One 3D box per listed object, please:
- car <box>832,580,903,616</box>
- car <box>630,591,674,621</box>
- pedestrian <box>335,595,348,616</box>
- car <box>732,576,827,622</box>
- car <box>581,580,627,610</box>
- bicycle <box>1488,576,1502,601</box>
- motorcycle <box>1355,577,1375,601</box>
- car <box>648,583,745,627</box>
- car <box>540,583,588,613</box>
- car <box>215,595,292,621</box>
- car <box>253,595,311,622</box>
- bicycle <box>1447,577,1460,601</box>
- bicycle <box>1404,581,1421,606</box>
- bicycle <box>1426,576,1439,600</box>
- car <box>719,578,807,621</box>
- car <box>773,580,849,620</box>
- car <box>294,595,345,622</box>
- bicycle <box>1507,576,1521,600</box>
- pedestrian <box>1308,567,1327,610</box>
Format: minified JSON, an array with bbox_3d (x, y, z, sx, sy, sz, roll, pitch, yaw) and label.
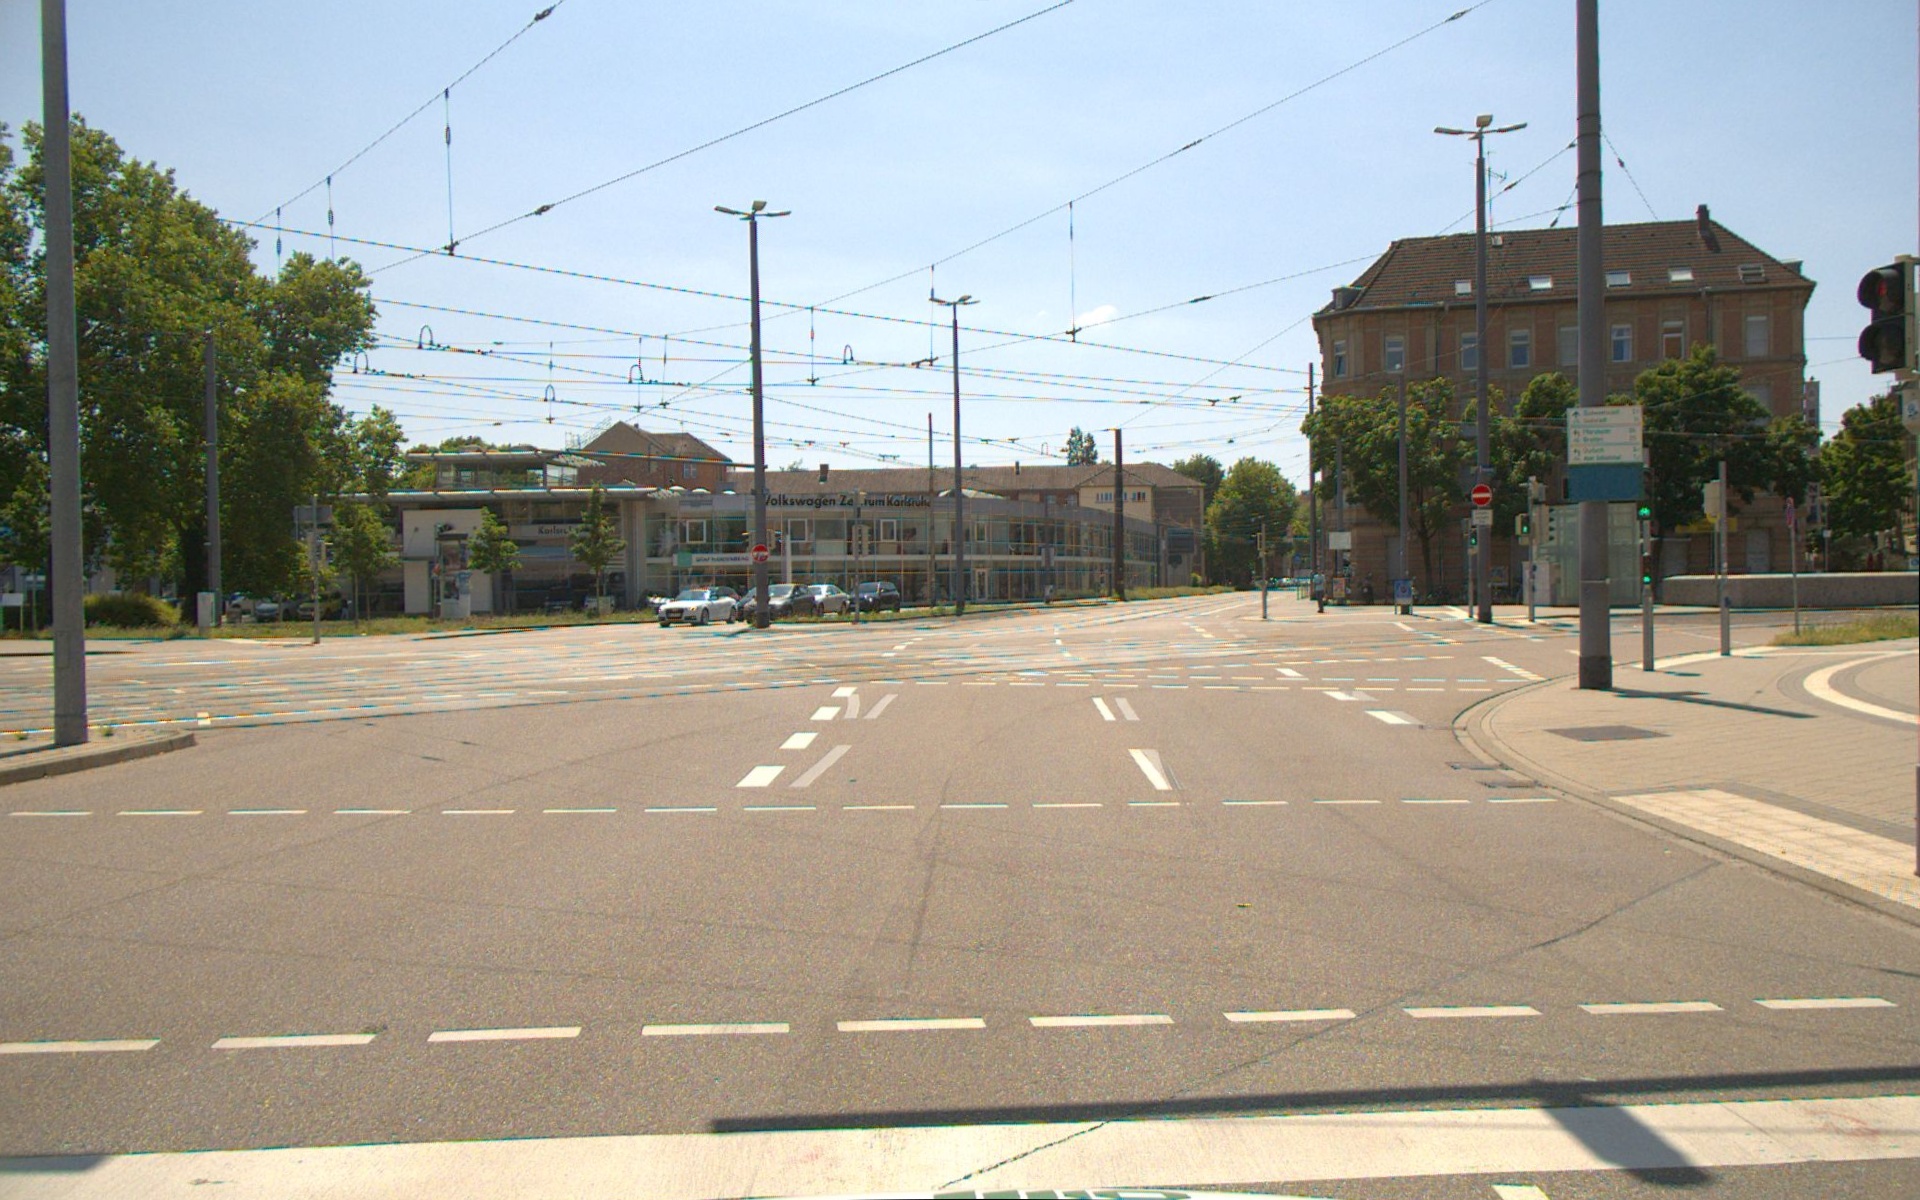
[{"bbox_3d":[-4.600,-0.123,83.057,2.034,1.712,4.850,-1,1,16],"label":"car"},{"bbox_3d":[-18.569,0.367,99.890,1.881,1.737,4.000,1,0,0],"label":"car"},{"bbox_3d":[-36.215,0.320,96.838,0.502,1.225,0.446,-1,0,5],"label":"pedestrian"},{"bbox_3d":[-6.970,-0.061,64.392,1.951,1.666,4.850,-1,1,16],"label":"car"},{"bbox_3d":[-21.428,-0.285,99.721,1.881,1.737,4.000,1,0,0],"label":"car"},{"bbox_3d":[25.532,-0.561,78.980,0.539,1.139,1.872,-1,0,15],"label":"bicycle"},{"bbox_3d":[19.457,-0.534,79.418,0.568,1.093,1.947,-1,0,3],"label":"motorcycle"},{"bbox_3d":[-10.149,0.159,64.033,2.032,1.607,4.850,-1,1,13],"label":"car"},{"bbox_3d":[-23.834,-0.126,99.689,1.881,1.737,4.000,1,0,0],"label":"car"},{"bbox_3d":[-45.409,0.500,106.390,4.279,1.536,1.750,-1,1,-36],"label":"car"},{"bbox_3d":[-41.406,0.493,101.034,1.731,1.536,4.327,-1,1,0],"label":"car"},{"bbox_3d":[23.527,-0.516,78.817,0.539,1.139,1.822,-1,0,15],"label":"bicycle"},{"bbox_3d":[21.695,-0.284,79.302,0.433,1.166,2.095,1,0,6],"label":"bicycle"},{"bbox_3d":[22.552,-0.568,78.984,0.539,1.139,1.822,-1,0,15],"label":"bicycle"},{"bbox_3d":[-8.313,-0.050,70.200,1.951,1.730,4.850,-1,1,16],"label":"car"},{"bbox_3d":[-6.808,-0.013,76.166,1.951,1.770,4.546,-1,1,16],"label":"car"},{"bbox_3d":[-38.905,0.504,100.576,1.732,1.536,4.322,-1,1,-5],"label":"car"},{"bbox_3d":[26.534,-0.564,79.223,0.539,1.139,1.931,-1,0,15],"label":"bicycle"},{"bbox_3d":[14.484,-0.469,67.015,0.455,1.738,0.634,-1,0,-26],"label":"pedestrian"}]
